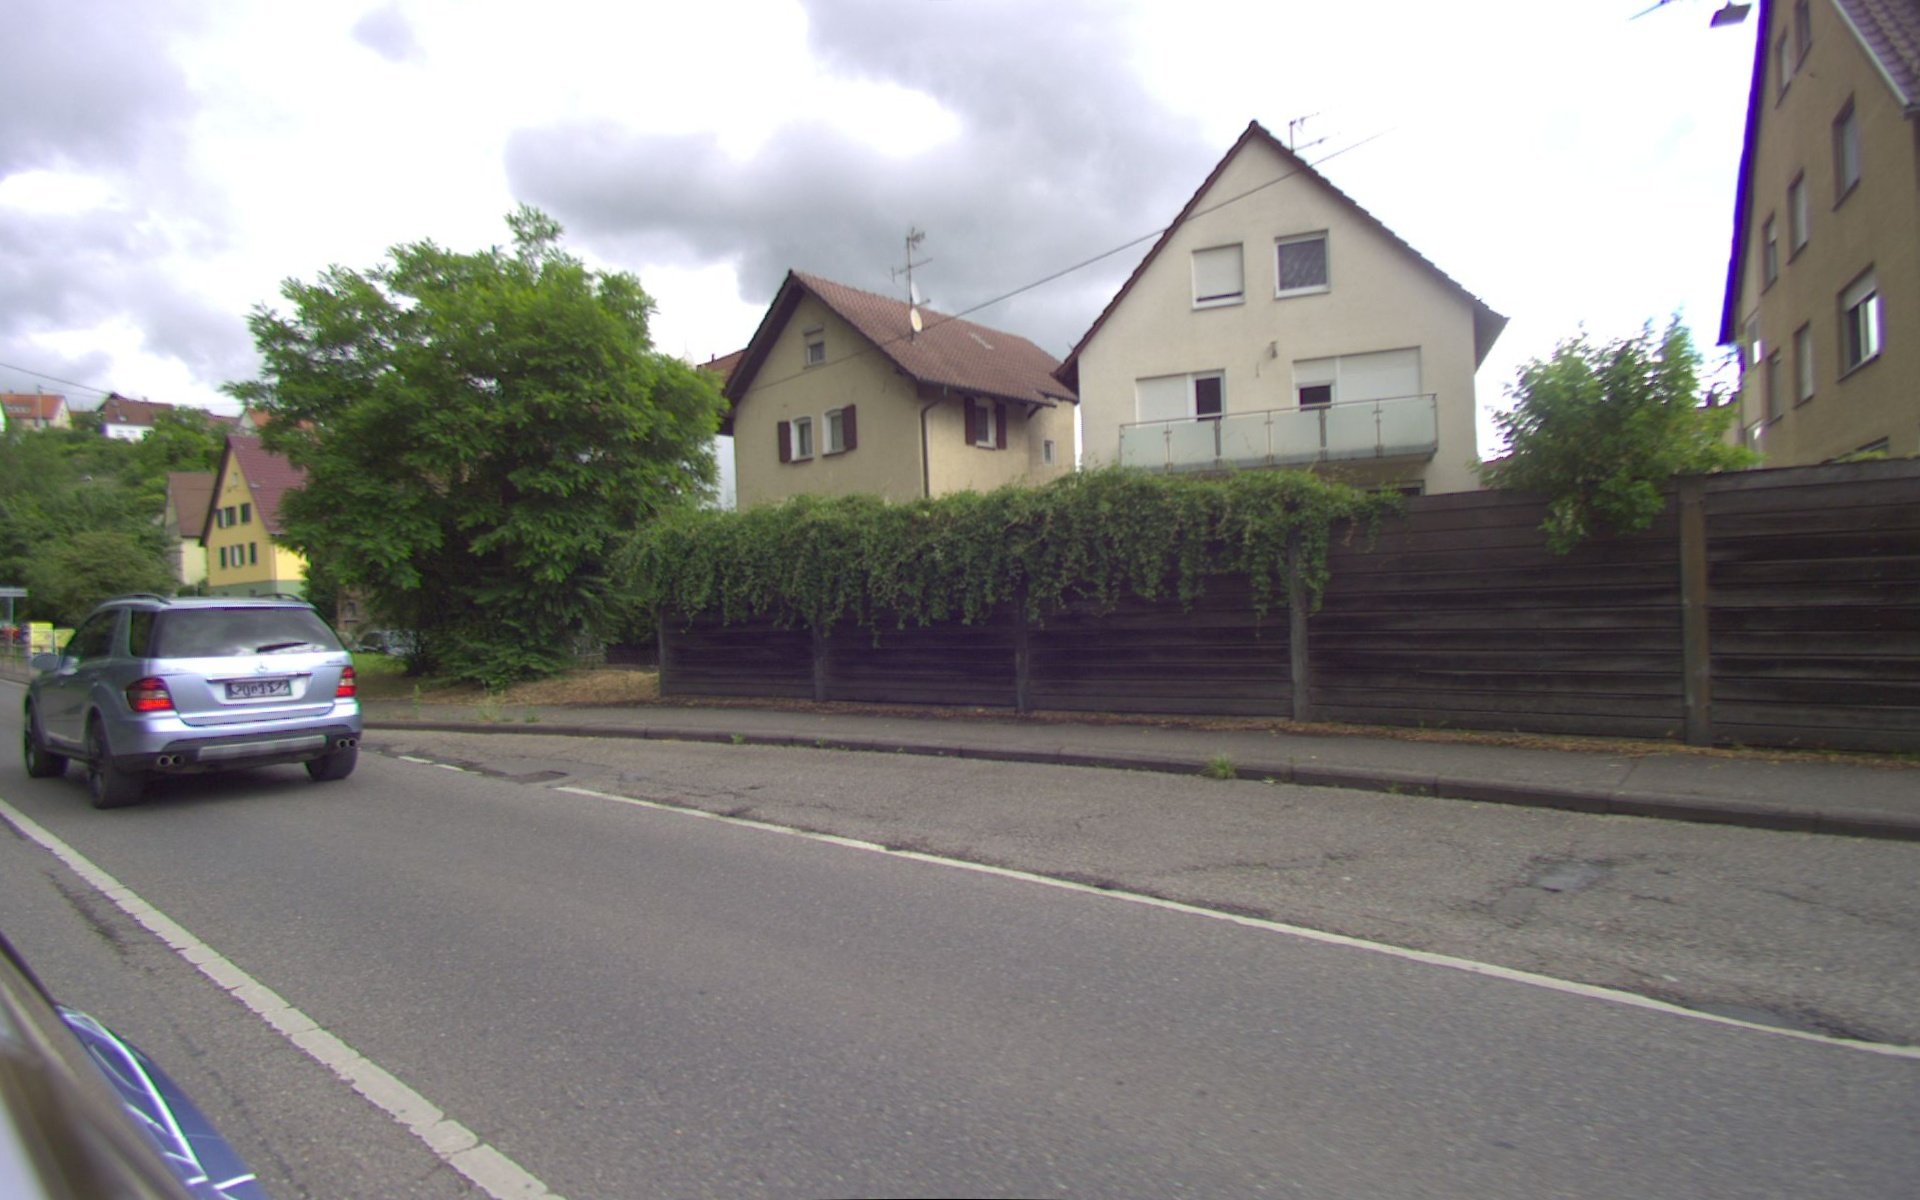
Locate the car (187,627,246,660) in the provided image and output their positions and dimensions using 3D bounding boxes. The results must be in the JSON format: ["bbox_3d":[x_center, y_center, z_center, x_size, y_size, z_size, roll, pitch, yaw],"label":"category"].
[{"bbox_3d":[-39.502,2.288,53.738,4.000,1.630,1.792,-2,-1,43],"label":"car"}]

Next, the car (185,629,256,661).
[{"bbox_3d":[-31.963,1.910,43.692,1.970,1.287,4.003,0,-1,-44],"label":"car"}]

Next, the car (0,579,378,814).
[{"bbox_3d":[-7.581,0.771,9.730,4.687,1.737,1.916,-2,-1,39],"label":"car"}]

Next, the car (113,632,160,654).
[{"bbox_3d":[-53.577,2.773,65.797,4.148,1.355,1.629,-2,-1,40],"label":"car"}]

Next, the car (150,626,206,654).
[{"bbox_3d":[-48.071,2.446,62.199,4.446,1.630,1.972,-2,-1,42],"label":"car"}]
